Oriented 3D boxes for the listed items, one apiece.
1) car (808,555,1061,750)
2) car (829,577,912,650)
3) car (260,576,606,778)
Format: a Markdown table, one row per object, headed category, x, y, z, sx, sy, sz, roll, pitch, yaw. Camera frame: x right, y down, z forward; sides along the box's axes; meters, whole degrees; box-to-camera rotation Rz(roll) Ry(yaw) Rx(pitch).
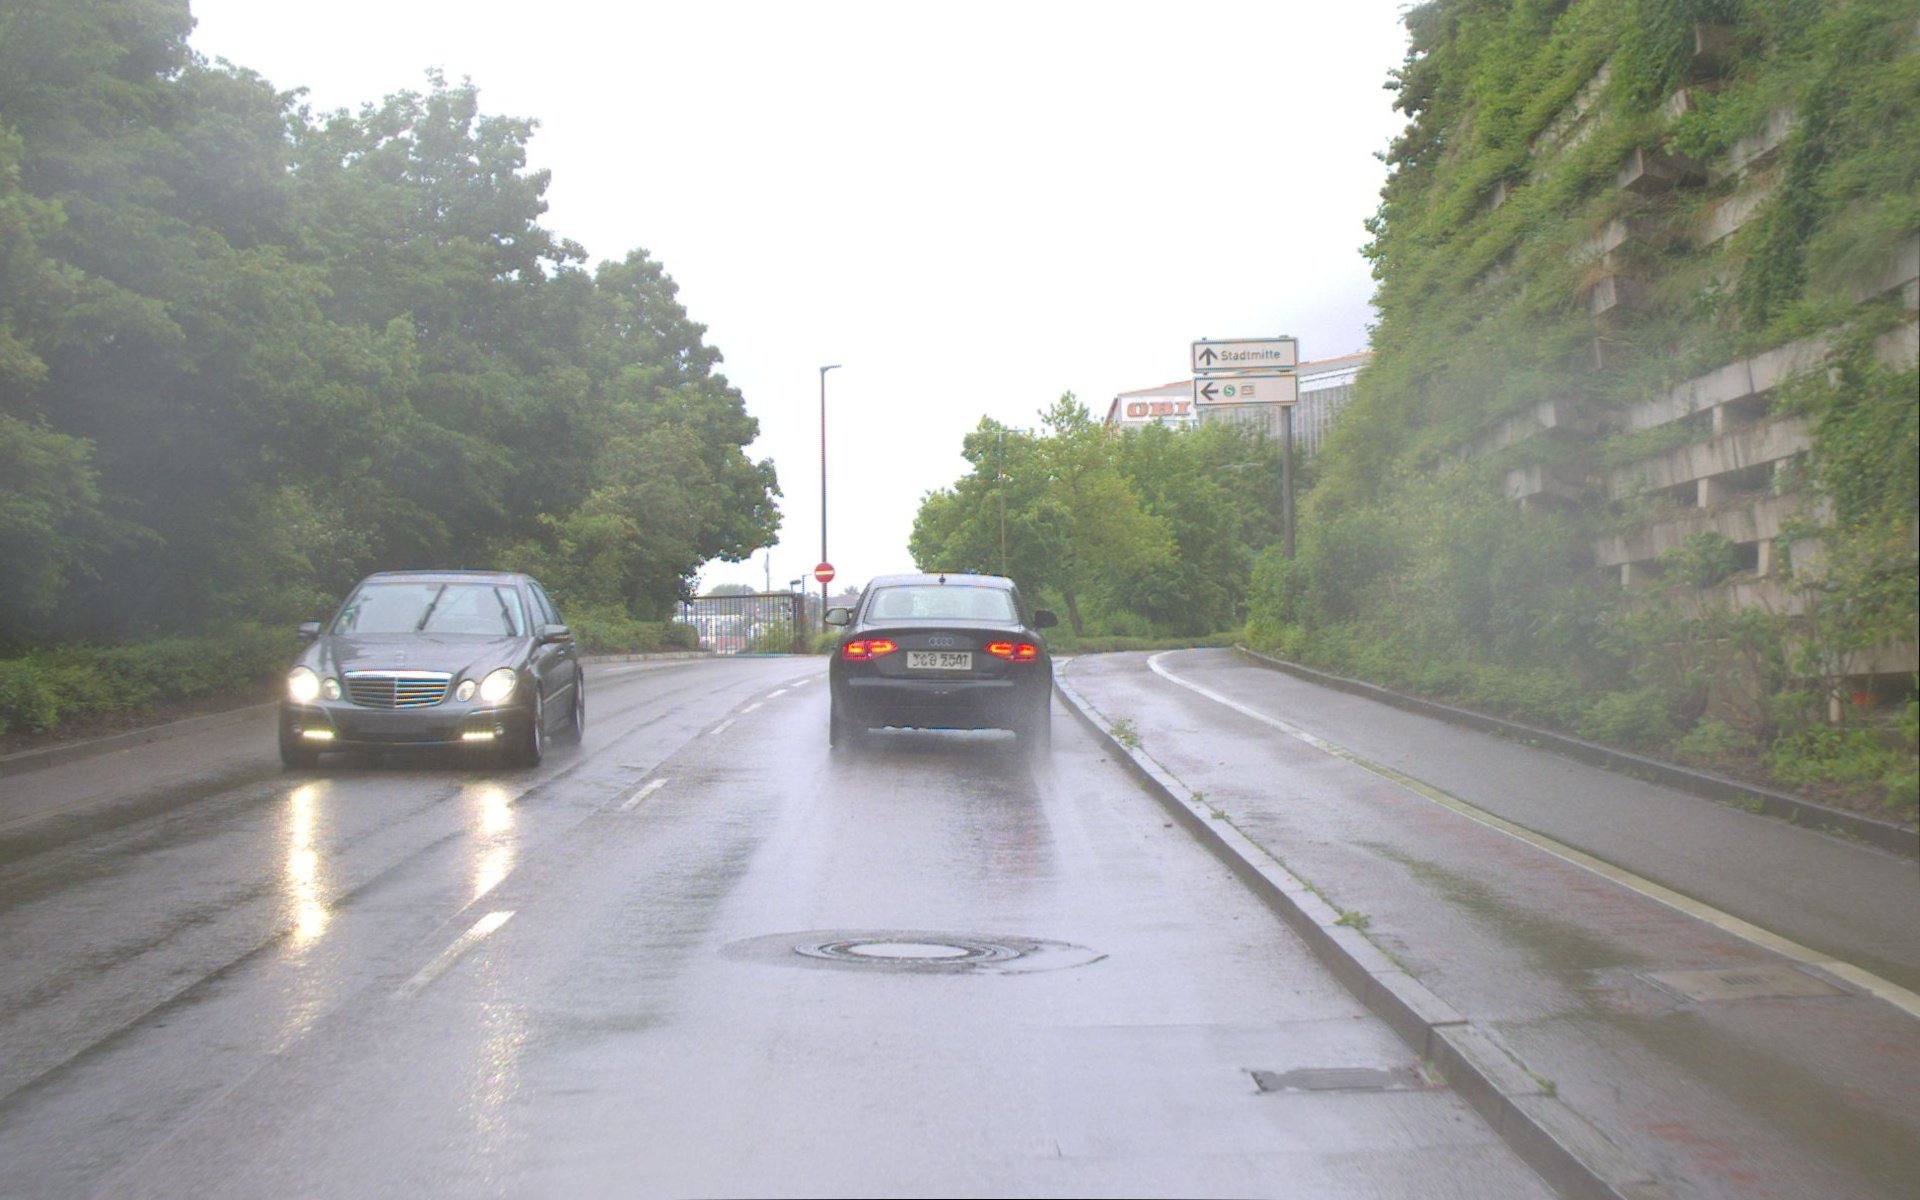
| category | x | y | z | sx | sy | sz | roll | pitch | yaw |
| --- | --- | --- | --- | --- | --- | --- | --- | --- | --- |
| car | -0.134 | 0.372 | 28.424 | 1.893 | 1.487 | 4.207 | 0 | 1 | 2 |
| car | -2.134 | 0.304 | 82.845 | 1.830 | 1.700 | 4.333 | 0 | 1 | 1 |
| car | -3.869 | 0.521 | 25.926 | 1.993 | 1.359 | 4.252 | 0 | 1 | -1 |
